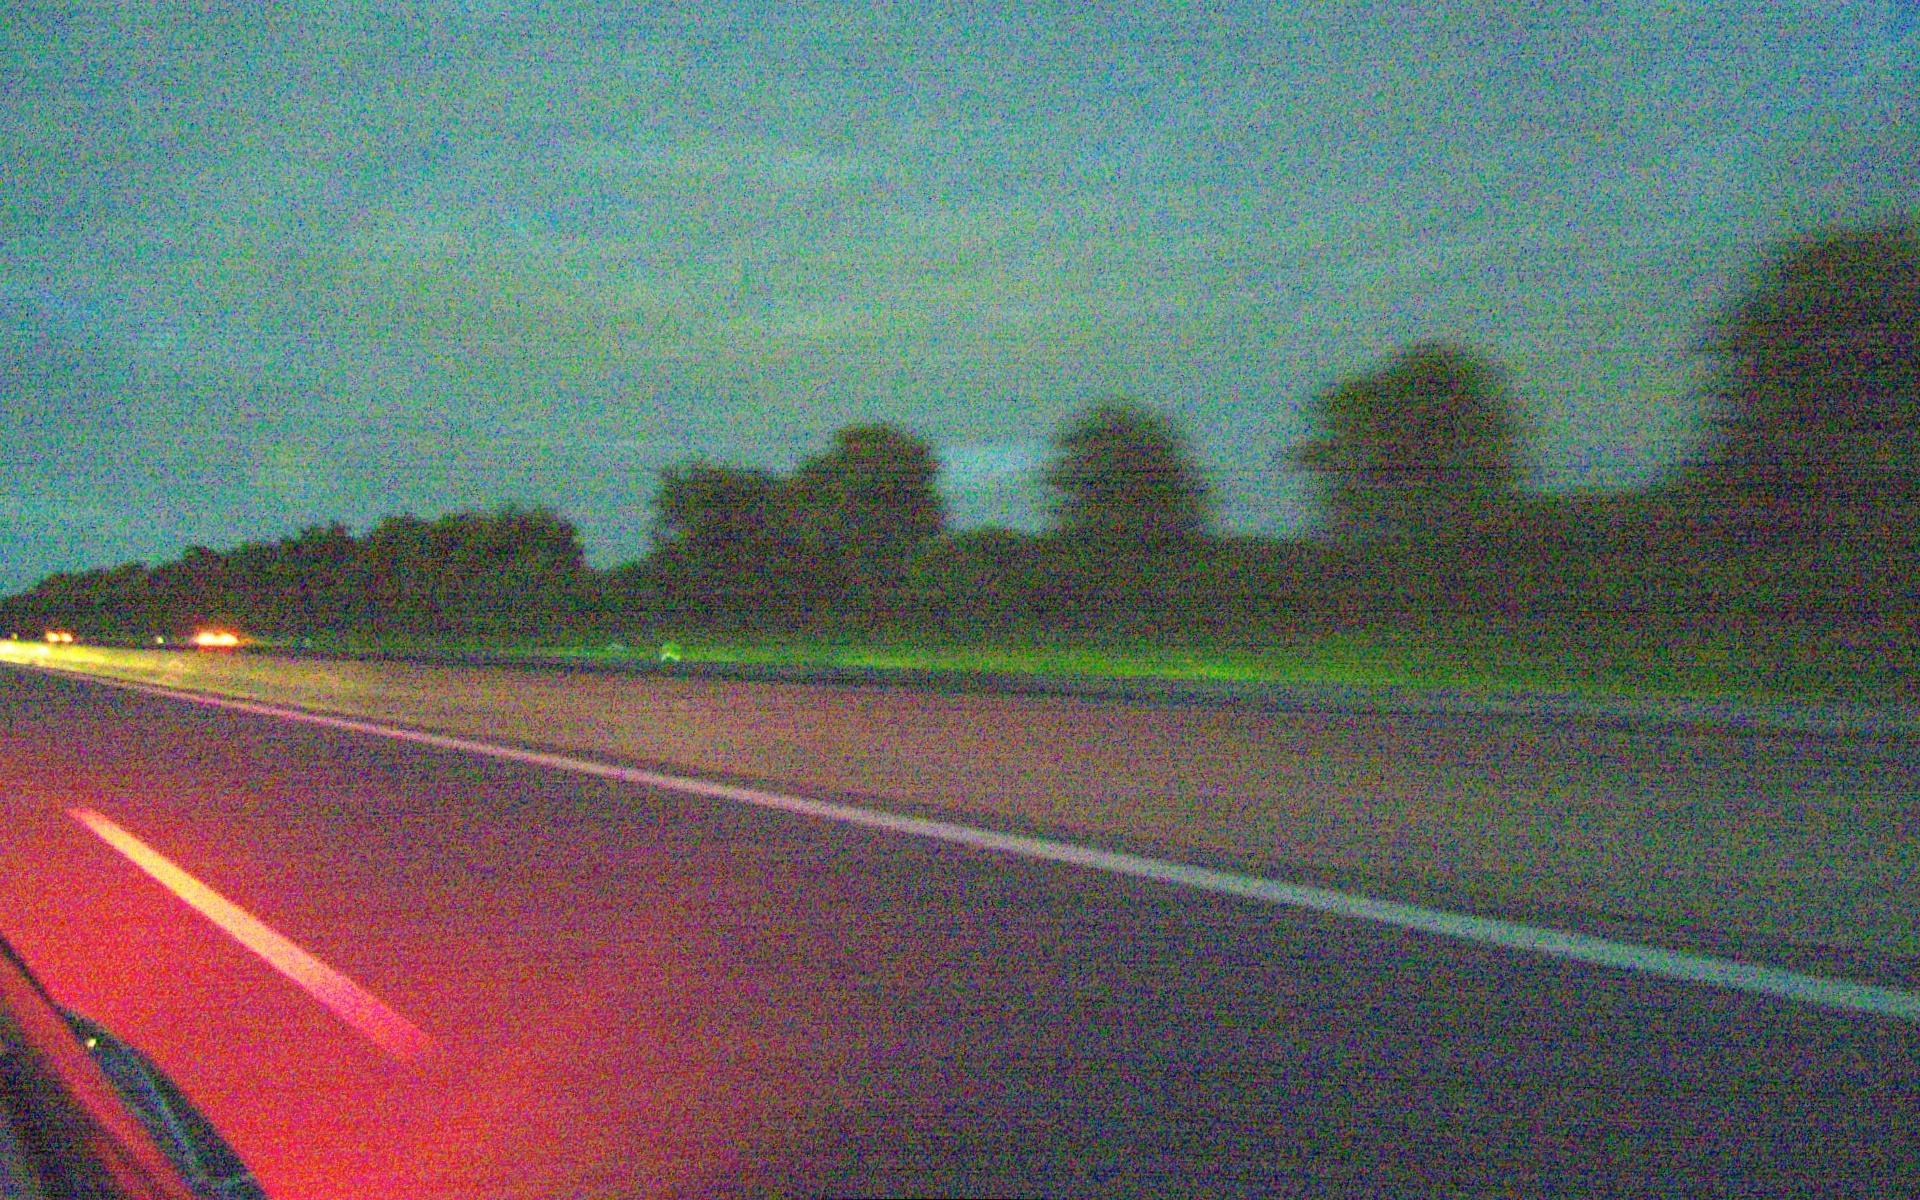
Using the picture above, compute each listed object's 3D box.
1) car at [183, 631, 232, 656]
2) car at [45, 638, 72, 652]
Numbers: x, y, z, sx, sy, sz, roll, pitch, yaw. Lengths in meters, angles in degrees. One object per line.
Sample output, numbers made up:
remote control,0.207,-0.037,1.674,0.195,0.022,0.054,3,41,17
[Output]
car,-55.137,3.142,74.098,5.044,1.646,1.883,0,1,42
car,-109.110,5.395,122.465,4.654,1.633,1.883,-2,-2,42
